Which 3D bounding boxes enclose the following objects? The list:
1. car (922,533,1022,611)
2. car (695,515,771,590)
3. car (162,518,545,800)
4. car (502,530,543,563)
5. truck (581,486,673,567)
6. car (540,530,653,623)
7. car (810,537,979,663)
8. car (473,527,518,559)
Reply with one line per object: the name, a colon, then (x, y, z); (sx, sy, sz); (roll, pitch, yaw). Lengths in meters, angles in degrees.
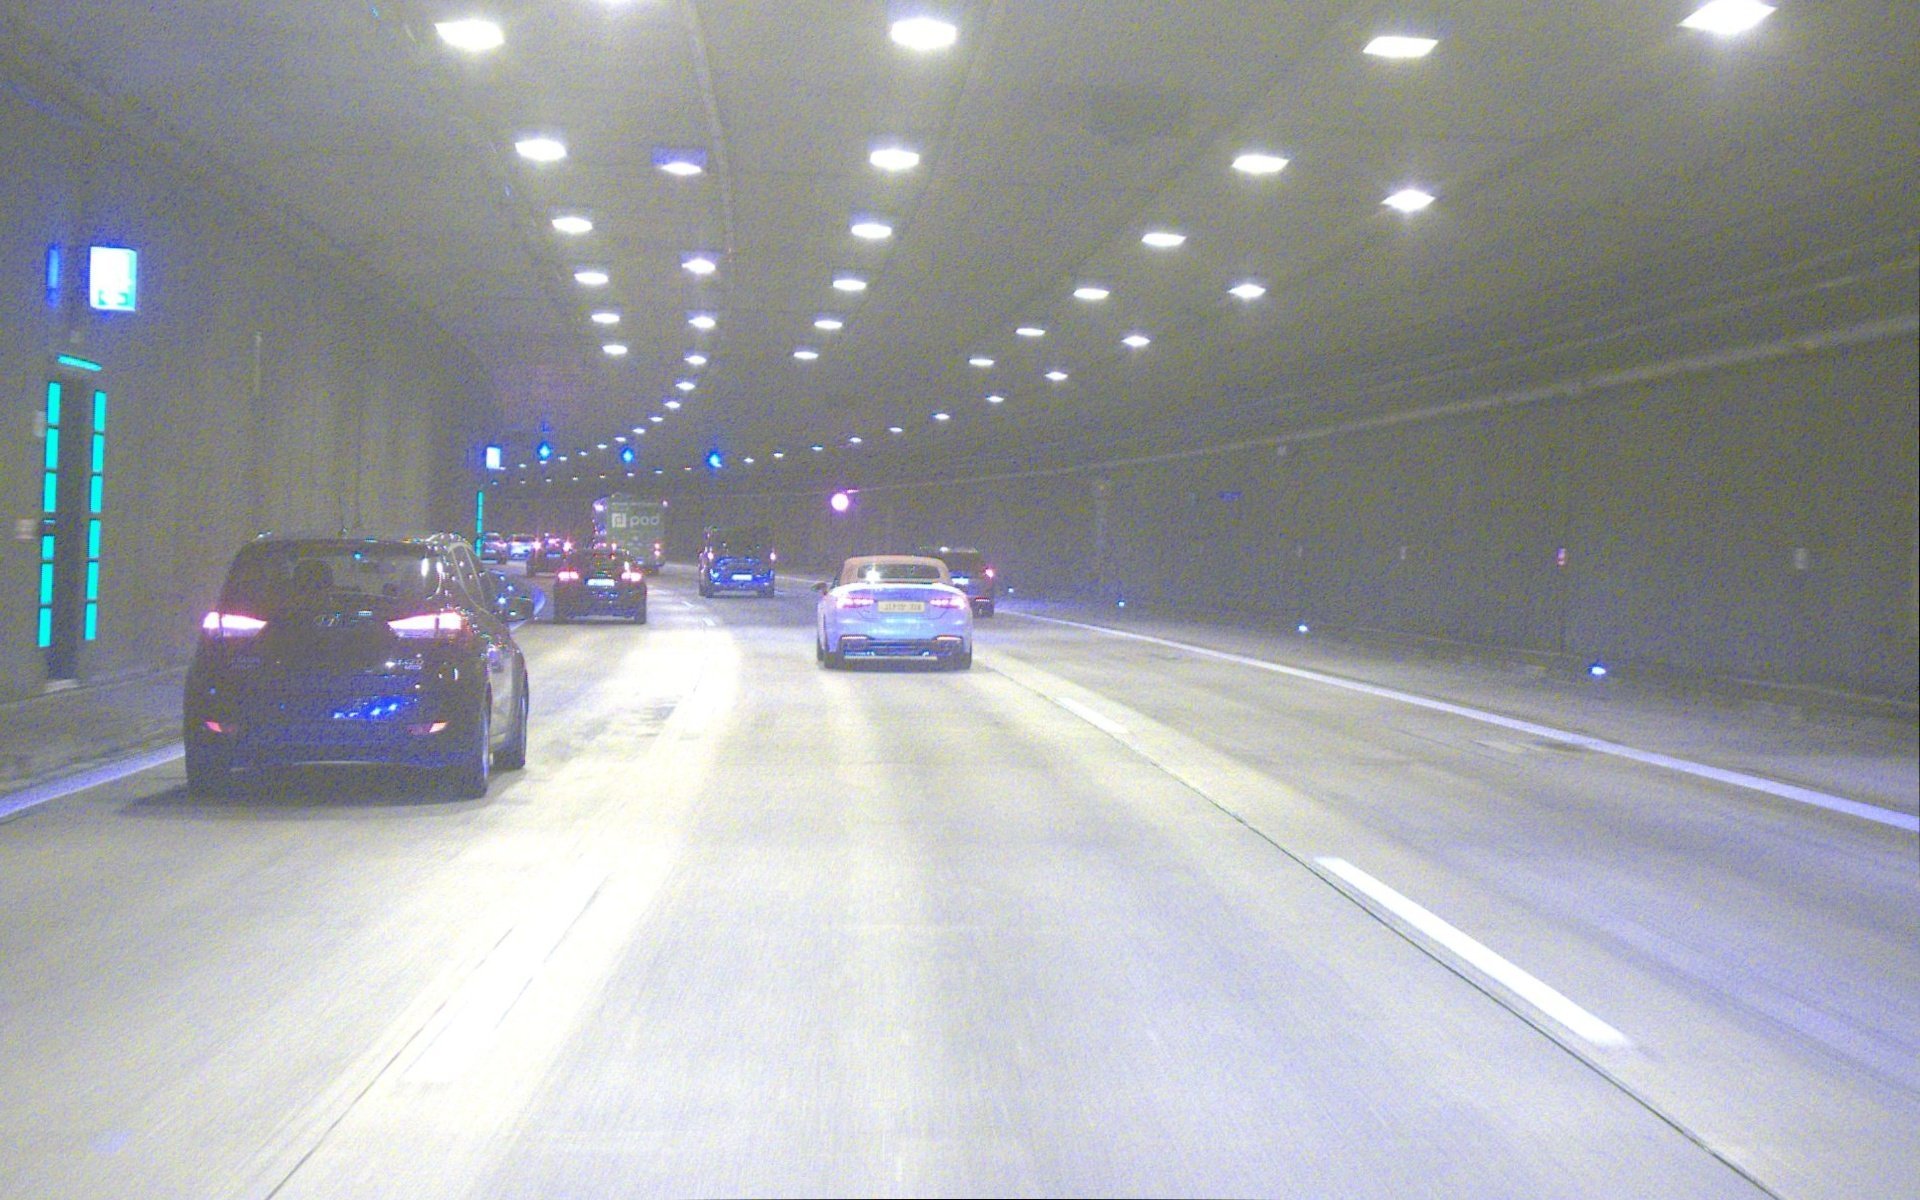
car: (0.222, -0.610, 72.923); (1.839, 1.597, 4.001); (1, 1, -4)
car: (-6.163, -1.288, 93.233); (1.993, 1.965, 4.001); (0, 1, -4)
car: (-3.675, 0.301, 21.438); (1.785, 1.593, 3.801); (0, 1, -1)
car: (-24.359, -2.980, 191.398); (1.993, 1.748, 4.001); (1, 1, -10)
truck: (-13.748, -3.070, 141.394); (3.082, 3.102, 10.032); (2, 2, -9)
car: (-6.910, -0.465, 65.051); (1.800, 1.678, 4.001); (1, 1, -10)
car: (-0.813, -0.036, 43.152); (1.993, 1.478, 4.000); (1, 1, -1)
car: (-23.403, -2.870, 173.107); (1.993, 1.525, 4.001); (1, 1, -11)
